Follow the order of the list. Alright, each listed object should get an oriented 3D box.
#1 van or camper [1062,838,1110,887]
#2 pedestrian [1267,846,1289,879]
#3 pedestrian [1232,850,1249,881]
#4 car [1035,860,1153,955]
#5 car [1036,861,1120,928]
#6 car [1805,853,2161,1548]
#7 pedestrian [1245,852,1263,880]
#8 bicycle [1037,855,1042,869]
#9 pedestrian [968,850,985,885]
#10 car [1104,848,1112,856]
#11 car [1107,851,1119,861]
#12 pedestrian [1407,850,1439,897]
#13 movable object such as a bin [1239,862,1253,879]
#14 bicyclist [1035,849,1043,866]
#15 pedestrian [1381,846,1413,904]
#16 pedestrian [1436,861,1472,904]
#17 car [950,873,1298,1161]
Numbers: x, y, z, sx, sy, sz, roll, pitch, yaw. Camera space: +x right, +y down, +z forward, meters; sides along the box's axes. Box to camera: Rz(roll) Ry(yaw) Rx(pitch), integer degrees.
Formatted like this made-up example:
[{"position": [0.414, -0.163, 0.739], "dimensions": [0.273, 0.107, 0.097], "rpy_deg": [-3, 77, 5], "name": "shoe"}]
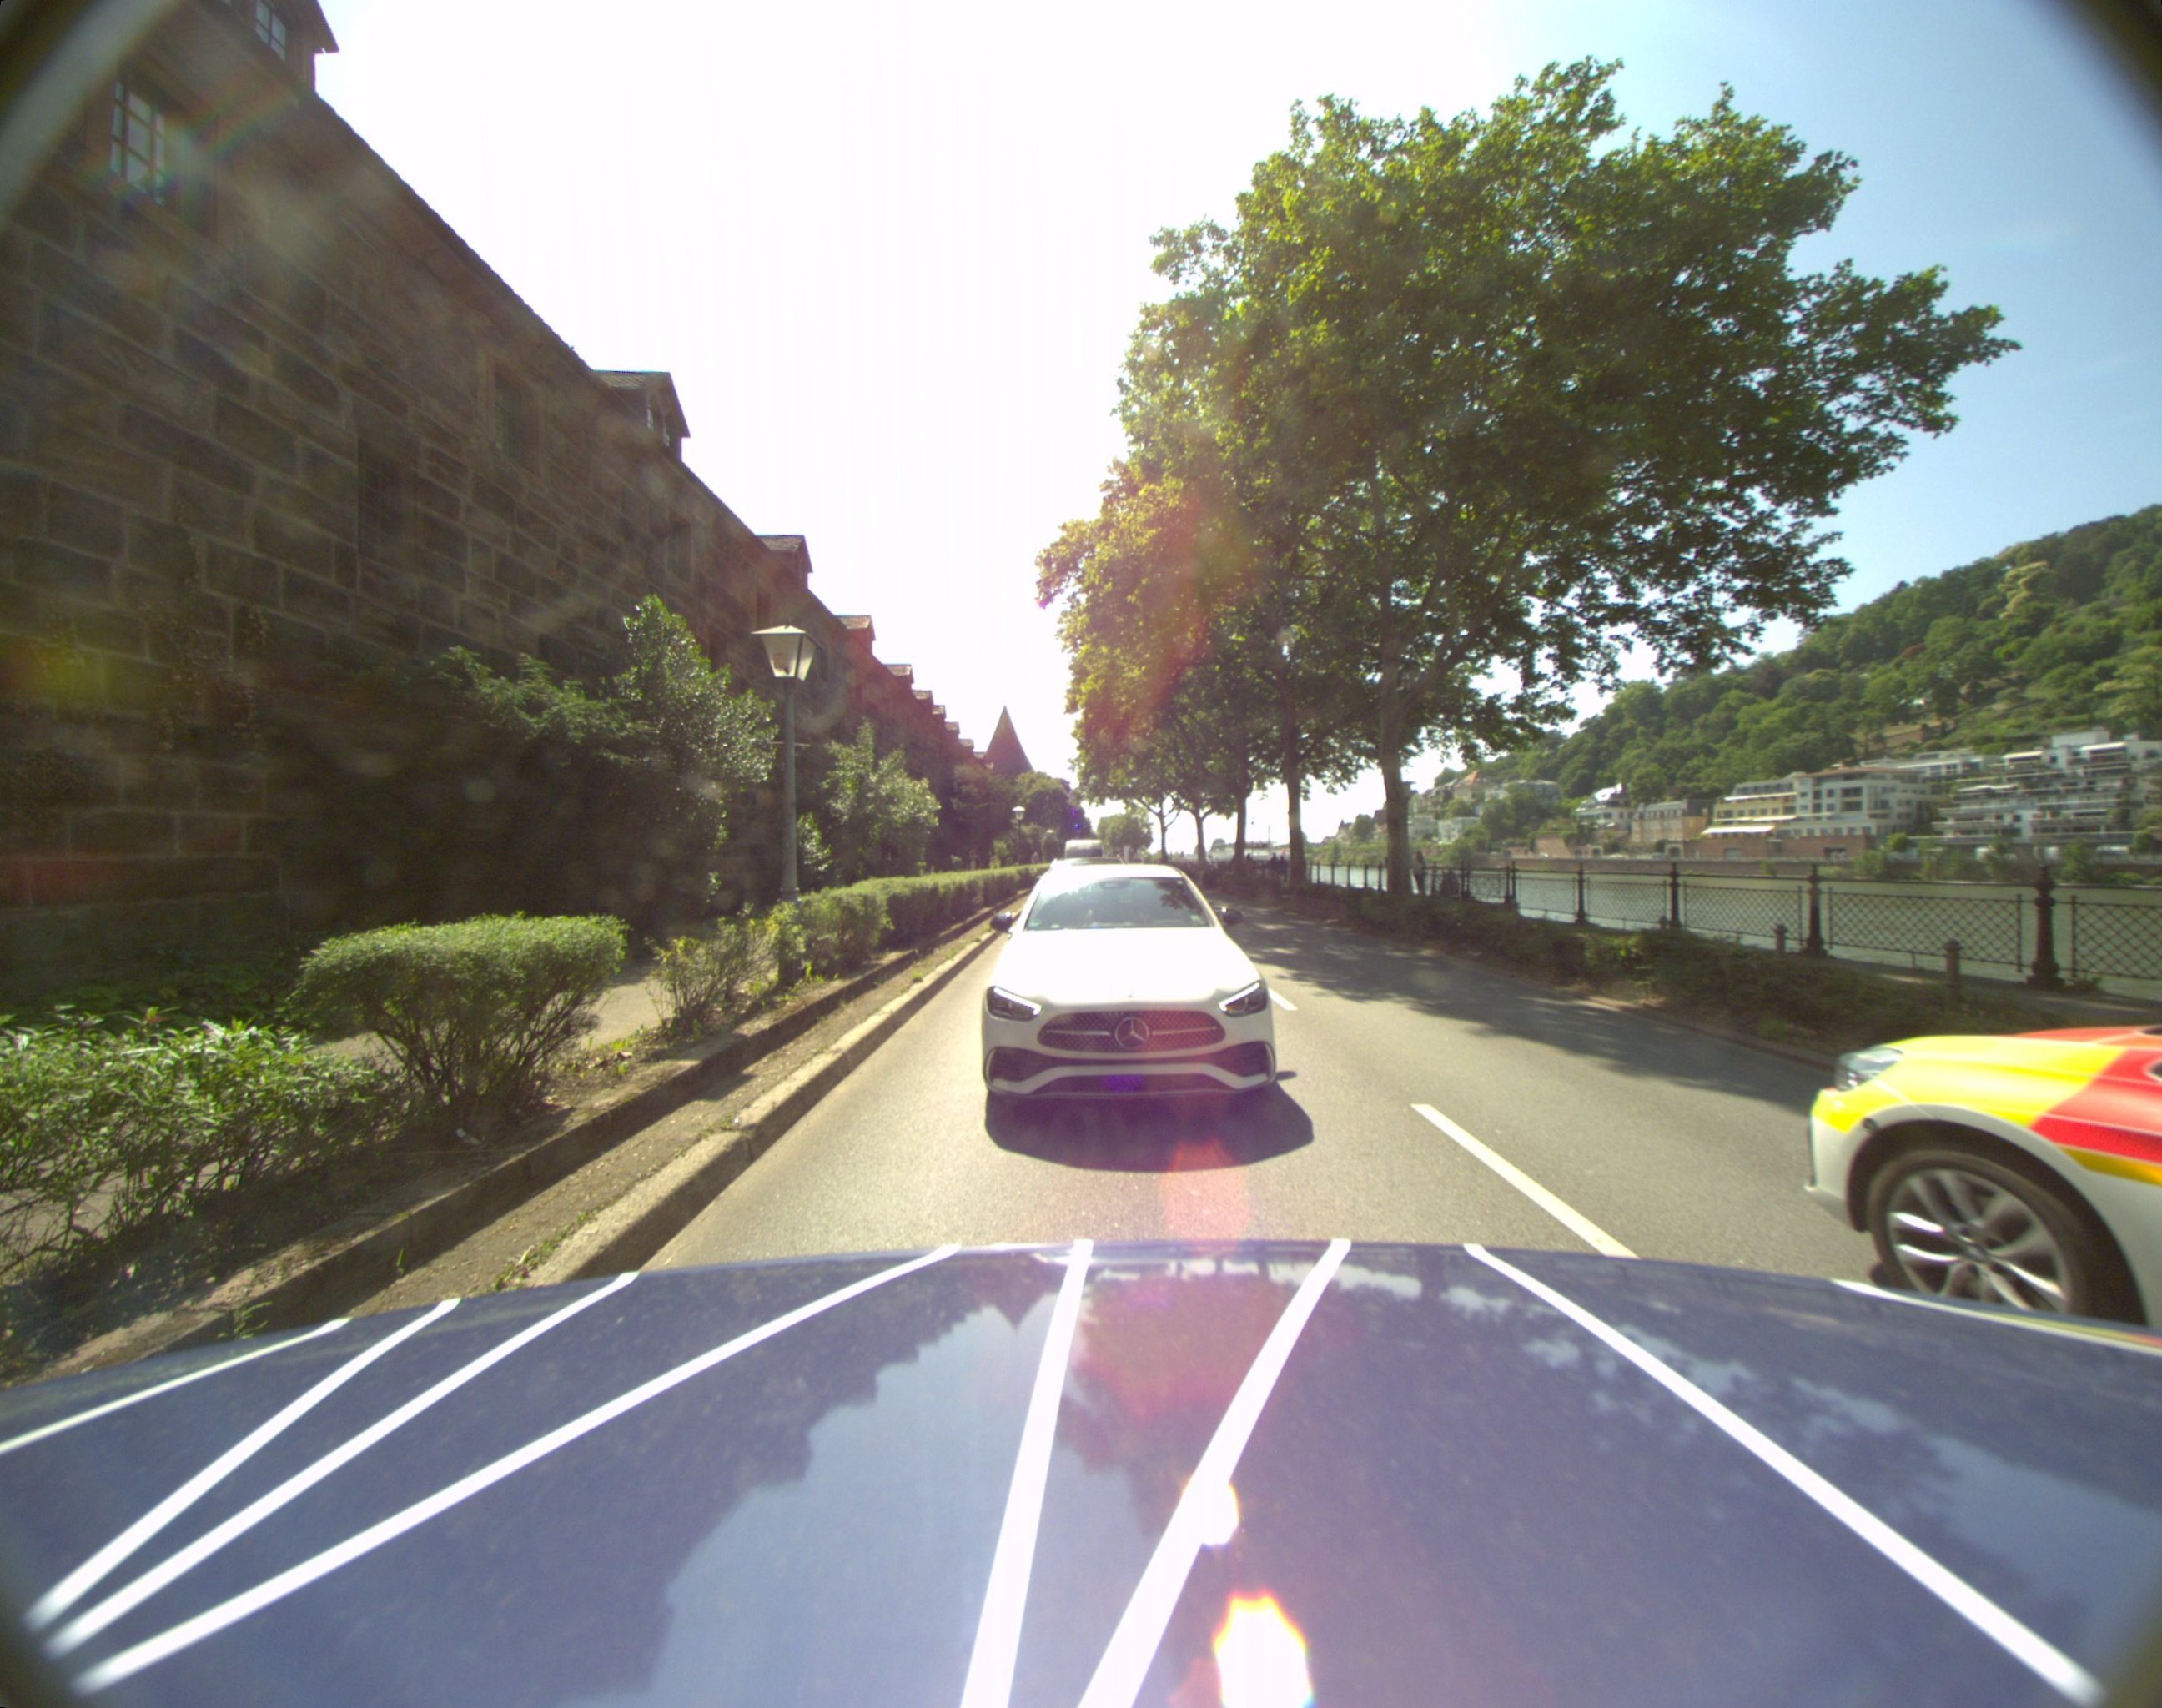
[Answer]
[{"position": [0.242, 0.406, 39.416], "dimensions": [2.313, 2.358, 5.035], "rpy_deg": [1, 0, 0], "name": "van or camper"}, {"position": [12.165, 0.514, 46.936], "dimensions": [1.047, 2.002, 1.036], "rpy_deg": [-1, 1, 31], "name": "pedestrian"}, {"position": [9.801, 0.681, 46.692], "dimensions": [0.806, 1.839, 0.929], "rpy_deg": [-2, 1, 1], "name": "pedestrian"}, {"position": [0.235, 0.880, 14.291], "dimensions": [1.833, 1.428, 4.270], "rpy_deg": [-2, 0, 1], "name": "car"}, {"position": [-0.037, 0.918, 19.056], "dimensions": [1.833, 1.395, 4.424], "rpy_deg": [-2, 0, 1], "name": "car"}, {"position": [3.424, 0.855, 0.575], "dimensions": [1.677, 1.650, 4.223], "rpy_deg": [2, 0, 0], "name": "car"}, {"position": [10.664, 0.729, 46.881], "dimensions": [0.897, 1.625, 1.059], "rpy_deg": [-2, 1, 6], "name": "pedestrian"}, {"position": [-3.618, 0.707, 66.223], "dimensions": [0.406, 1.169, 1.576], "rpy_deg": [-2, 1, -2], "name": "bicycle"}, {"position": [-4.738, 0.614, 34.521], "dimensions": [0.643, 1.555, 0.563], "rpy_deg": [-2, 1, 1], "name": "pedestrian"}, {"position": [7.469, -0.578, 211.893], "dimensions": [2.165, 2.002, 4.000], "rpy_deg": [-2, 1, 1], "name": "car"}, {"position": [6.560, 0.422, 156.465], "dimensions": [2.165, 2.002, 4.000], "rpy_deg": [-2, 1, 1], "name": "car"}, {"position": [12.917, 0.714, 28.721], "dimensions": [0.777, 1.748, 0.830], "rpy_deg": [1, 1, 0], "name": "pedestrian"}, {"position": [10.369, 1.029, 47.718], "dimensions": [0.703, 1.043, 0.783], "rpy_deg": [-2, 1, 4], "name": "movable object such as a bin"}, {"position": [-3.670, 0.313, 66.349], "dimensions": [0.550, 1.513, 0.583], "rpy_deg": [-2, 1, -1], "name": "bicyclist"}, {"position": [10.547, 0.683, 25.380], "dimensions": [0.767, 1.889, 0.771], "rpy_deg": [1, 1, 8], "name": "pedestrian"}, {"position": [12.061, 0.909, 24.562], "dimensions": [0.768, 1.379, 0.770], "rpy_deg": [1, 0, 0], "name": "pedestrian"}, {"position": [0.261, 0.934, 6.238], "dimensions": [1.833, 1.395, 4.270], "rpy_deg": [-2, 0, 1], "name": "car"}]
